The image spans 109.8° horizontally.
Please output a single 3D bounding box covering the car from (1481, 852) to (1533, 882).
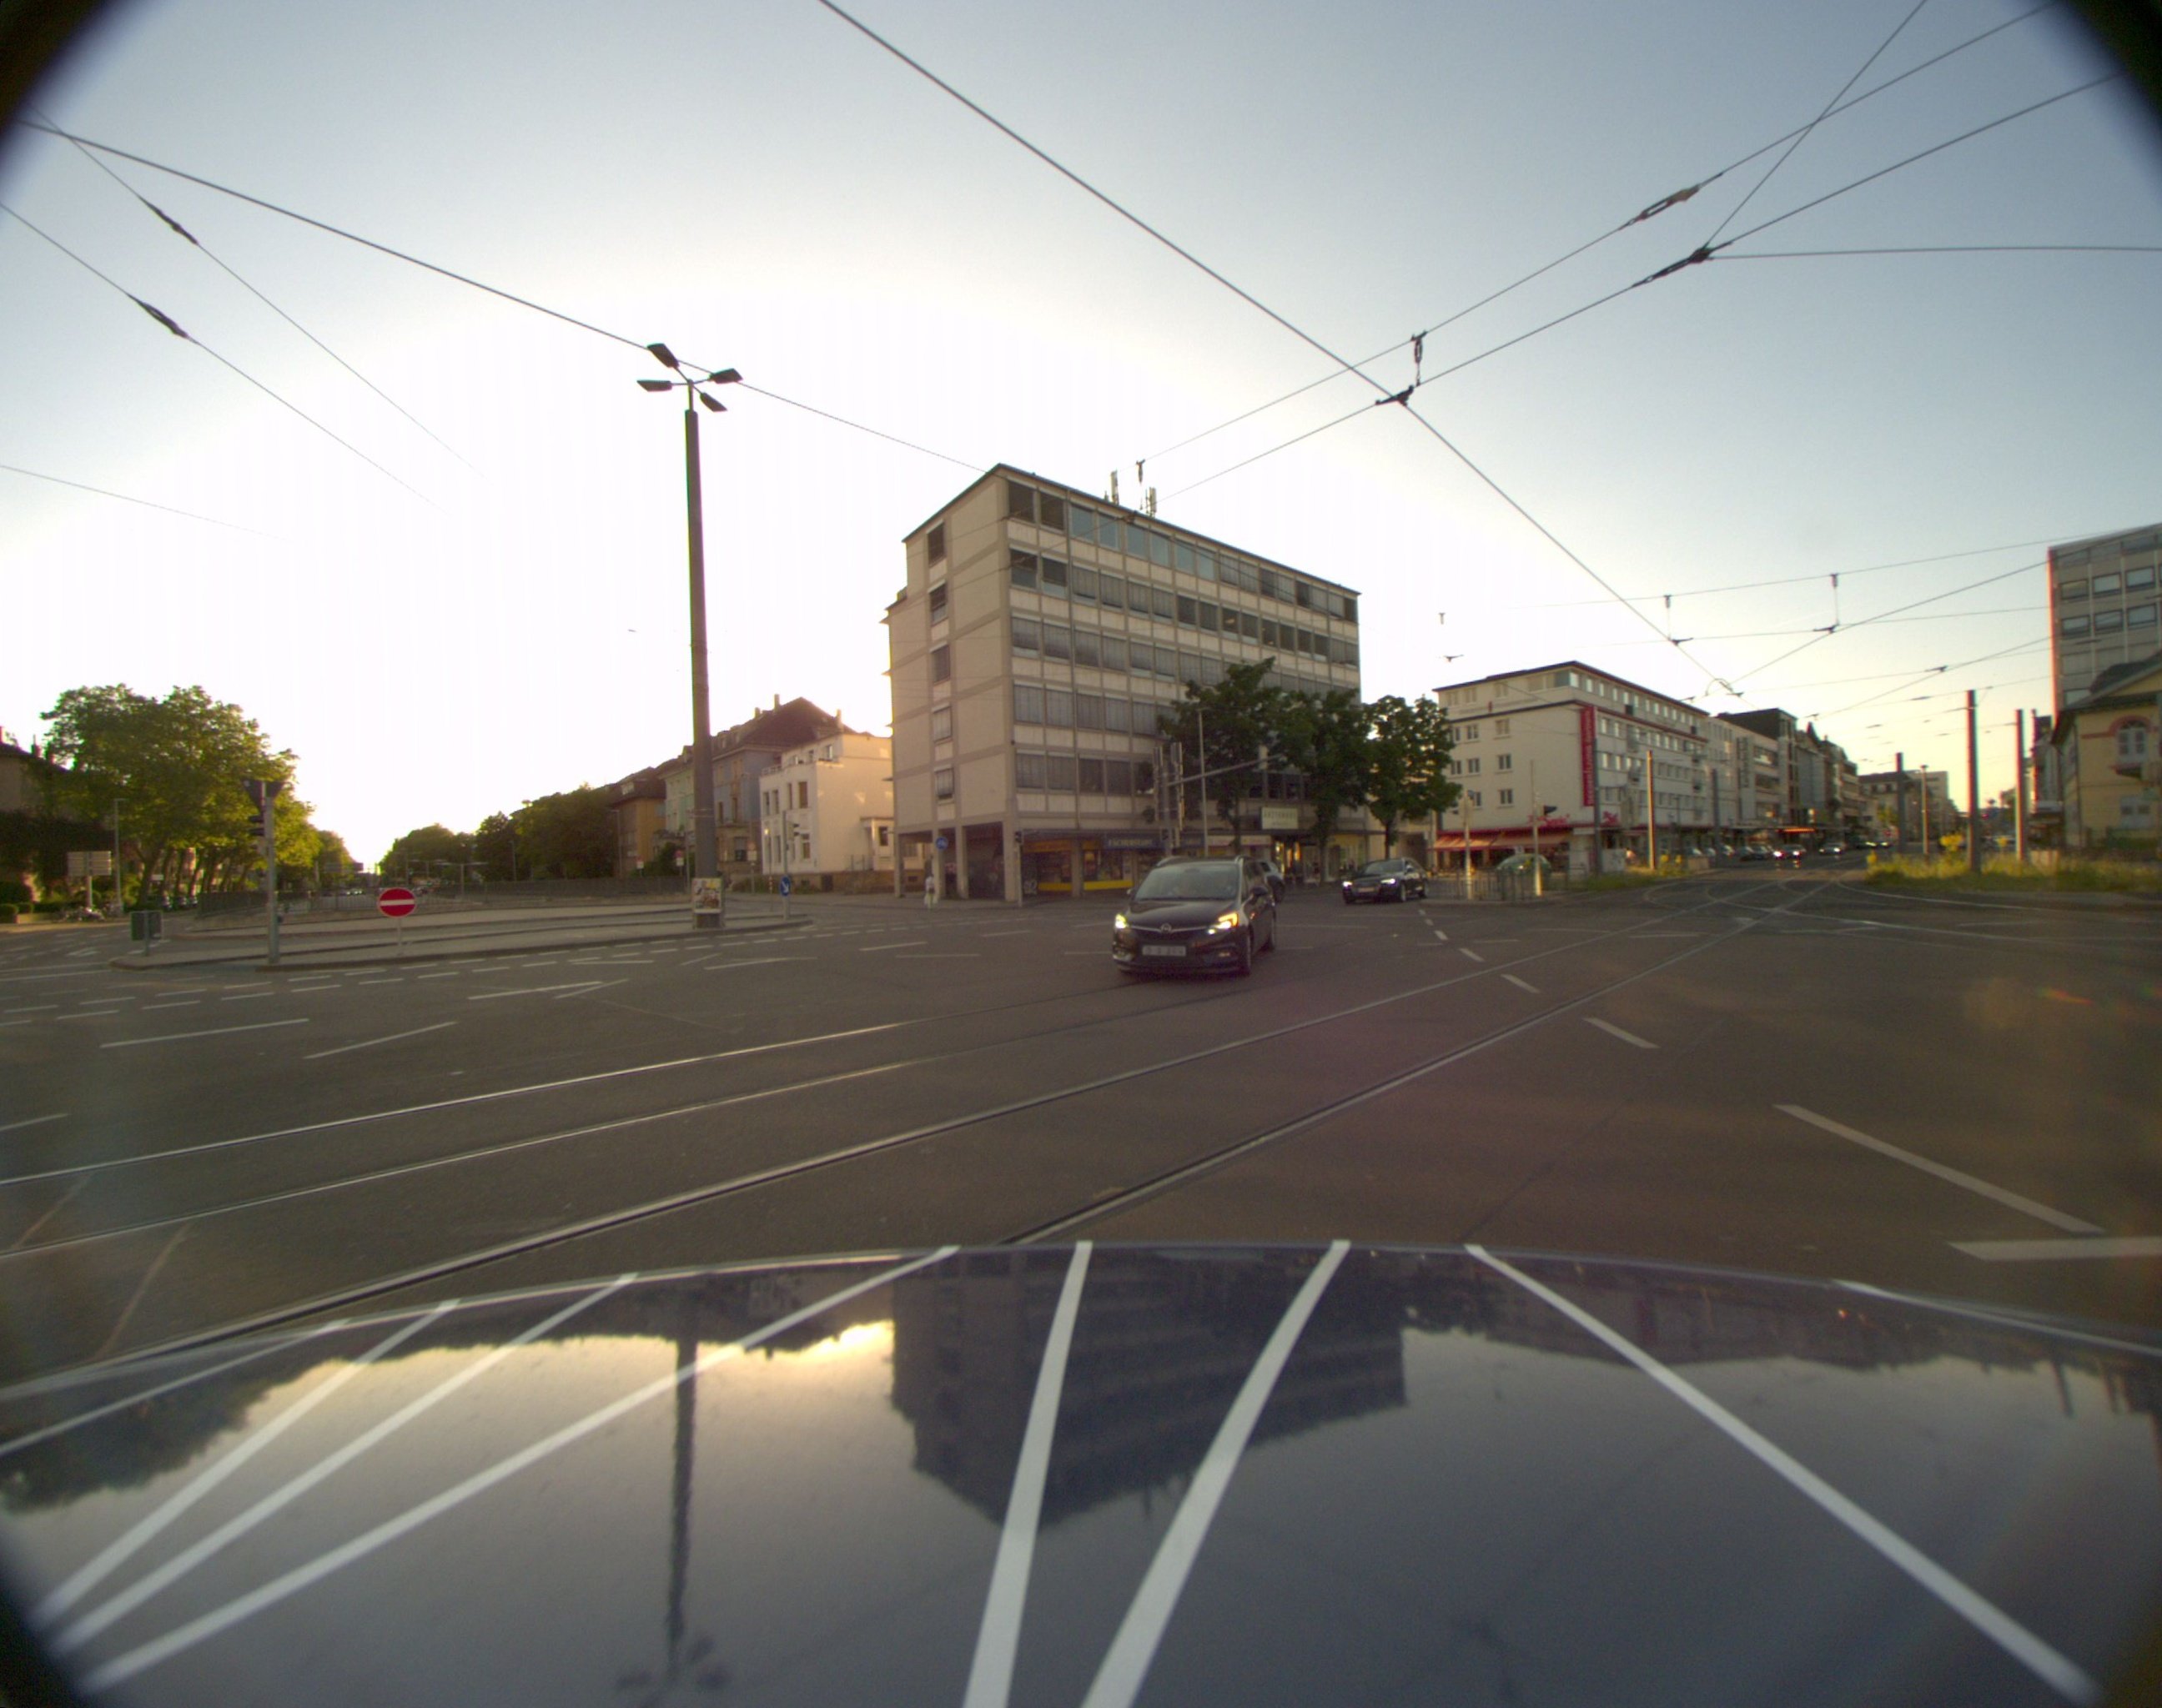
[{"bbox_3d":[24.379,0.721,43.446,1.744,1.556,4.032,-3,-1,41],"label":"car"}]

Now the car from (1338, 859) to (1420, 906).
[{"bbox_3d":[9.912,0.890,25.088,1.847,1.399,4.233,-2,-1,30],"label":"car"}]

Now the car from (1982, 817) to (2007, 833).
[{"bbox_3d":[98.468,-3.113,81.912,3.011,1.570,1.506,-2,0,-44],"label":"car"}]

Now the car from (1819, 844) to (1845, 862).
[{"bbox_3d":[87.345,-0.150,88.316,4.008,2.001,1.995,-1,-2,-44],"label":"car"}]

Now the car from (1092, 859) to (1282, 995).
[{"bbox_3d":[1.799,0.915,11.382,1.798,1.609,4.394,-2,-1,21],"label":"car"}]

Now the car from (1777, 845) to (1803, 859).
[{"bbox_3d":[69.671,-0.185,74.645,3.430,1.268,1.562,-1,-1,-43],"label":"car"}]

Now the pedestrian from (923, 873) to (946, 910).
[{"bbox_3d":[-6.144,1.576,31.954,0.650,1.526,0.712,-2,0,16],"label":"pedestrian"}]

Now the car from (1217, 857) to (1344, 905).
[{"bbox_3d":[7.863,0.992,29.569,5.589,1.618,2.026,-1,-1,-43],"label":"car"}]
